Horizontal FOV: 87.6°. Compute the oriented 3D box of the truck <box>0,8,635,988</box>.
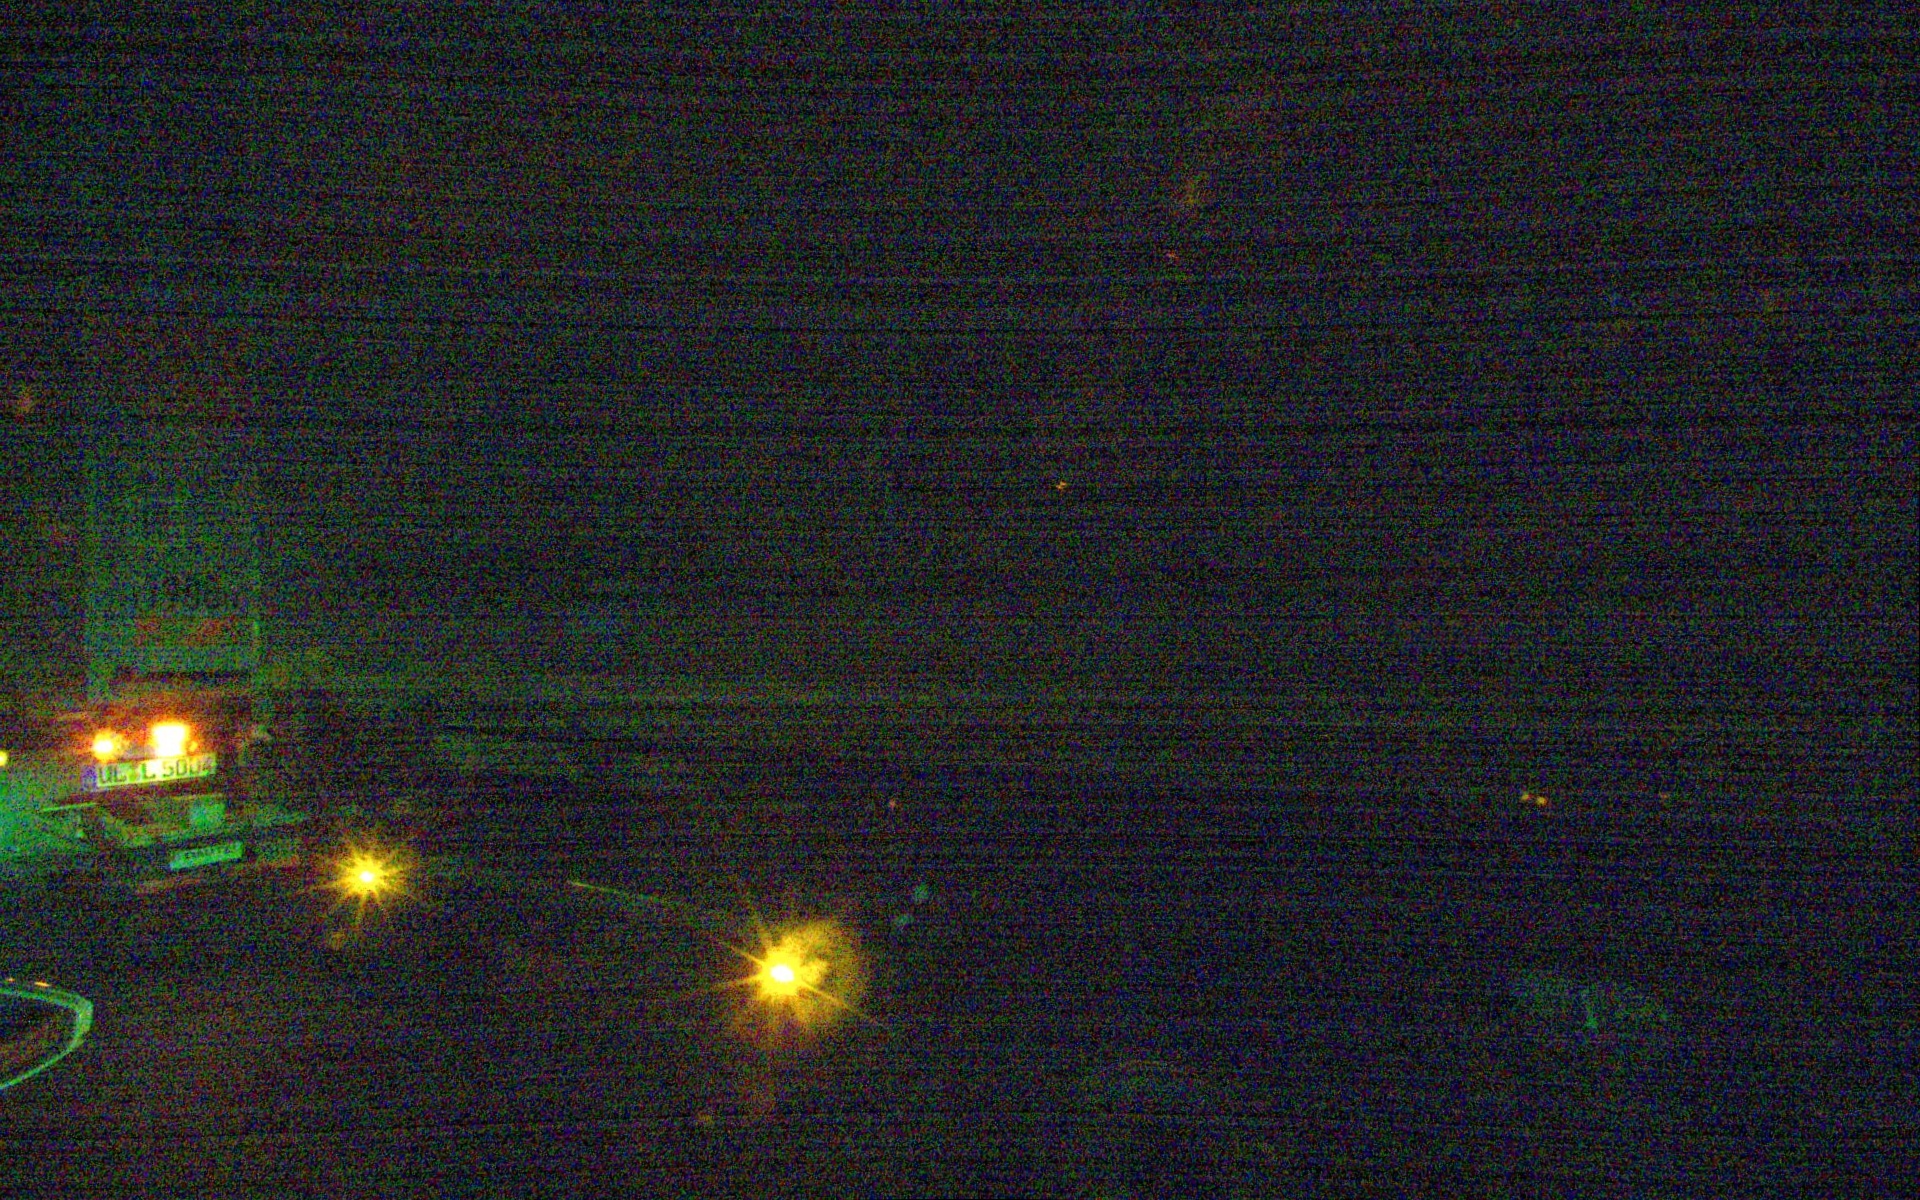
[{"bbox_3d":[-7.003,-0.319,7.864,9.765,3.964,2.884,-1,-1,32],"label":"truck"}]

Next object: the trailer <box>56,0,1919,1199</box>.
[{"bbox_3d":[0.859,-0.470,2.841,8.820,3.908,2.870,-1,-1,33],"label":"trailer"}]
